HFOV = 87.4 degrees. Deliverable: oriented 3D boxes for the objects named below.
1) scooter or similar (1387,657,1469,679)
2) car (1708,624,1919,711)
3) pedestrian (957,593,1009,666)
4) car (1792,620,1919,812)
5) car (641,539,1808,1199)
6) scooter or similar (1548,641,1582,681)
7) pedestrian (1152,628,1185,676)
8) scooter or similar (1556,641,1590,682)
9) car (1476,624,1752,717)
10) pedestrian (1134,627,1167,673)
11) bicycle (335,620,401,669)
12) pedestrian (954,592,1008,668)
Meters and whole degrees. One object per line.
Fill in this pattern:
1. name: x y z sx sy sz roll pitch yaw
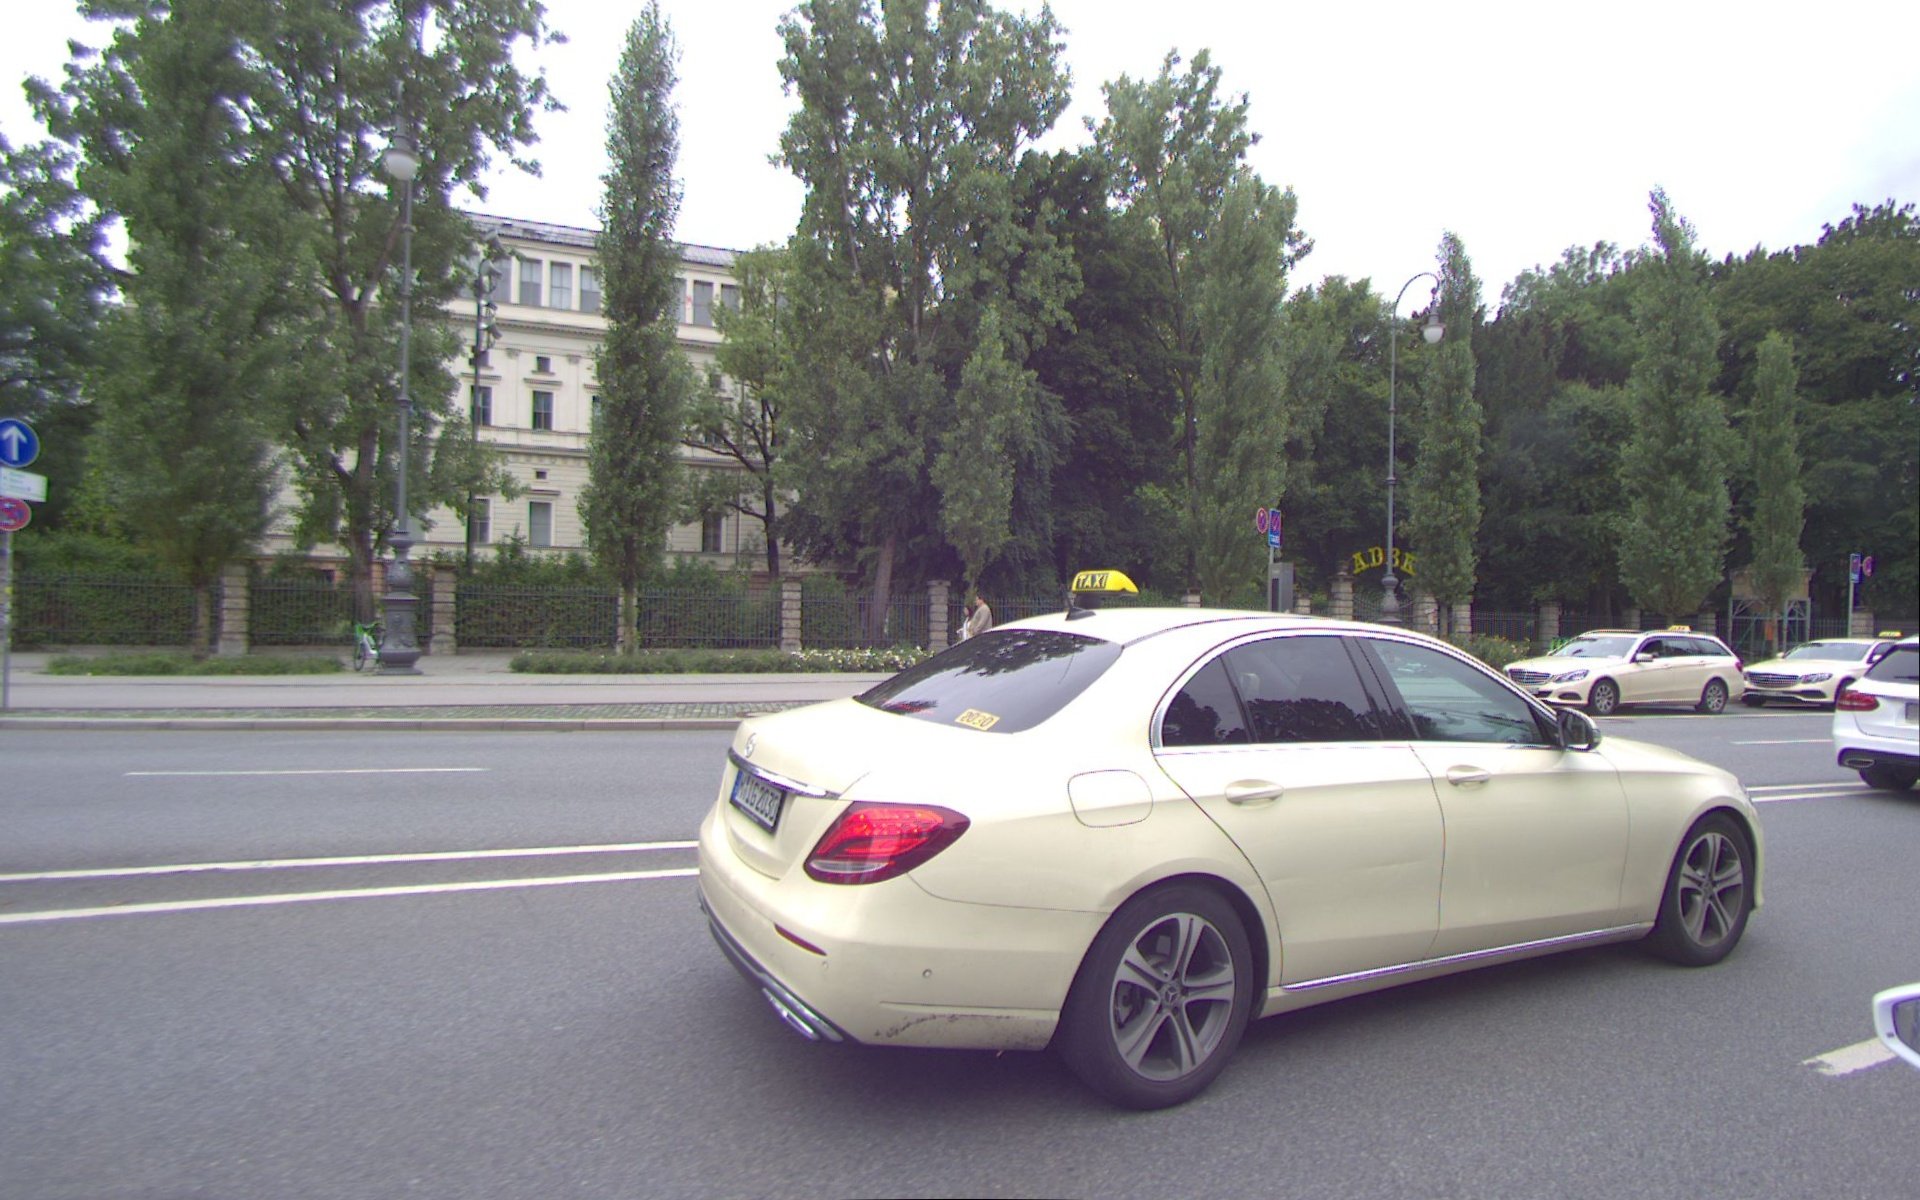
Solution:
1. scooter or similar: 14.466 2.091 31.041 2.196 0.525 1.330 0 -1 30
2. car: 18.371 1.416 21.079 4.890 1.645 1.935 3 -2 -20
3. pedestrian: 0.535 0.698 23.942 0.953 1.700 0.842 2 -1 -24
4. car: 9.633 1.002 8.655 4.515 1.474 1.822 2 0 -22
5. car: 1.241 0.706 4.209 4.631 1.596 1.907 2 1 -28
6. scooter or similar: 18.830 1.897 31.257 1.105 1.217 0.242 2 -1 -20
7. pedestrian: 6.131 1.517 29.549 0.569 1.355 0.835 1 -1 44
8. scooter or similar: 18.912 1.898 31.007 1.105 1.217 0.242 2 -1 -20
9. car: 12.126 1.316 18.632 4.786 1.579 1.816 2 -3 -20
10. pedestrian: 5.699 1.482 30.044 0.569 1.355 0.835 1 -1 43
11. bicycle: -13.900 1.024 23.584 1.709 1.078 0.635 1 -1 33
12. pedestrian: 0.476 0.692 23.039 0.953 1.700 0.842 2 -1 -24
